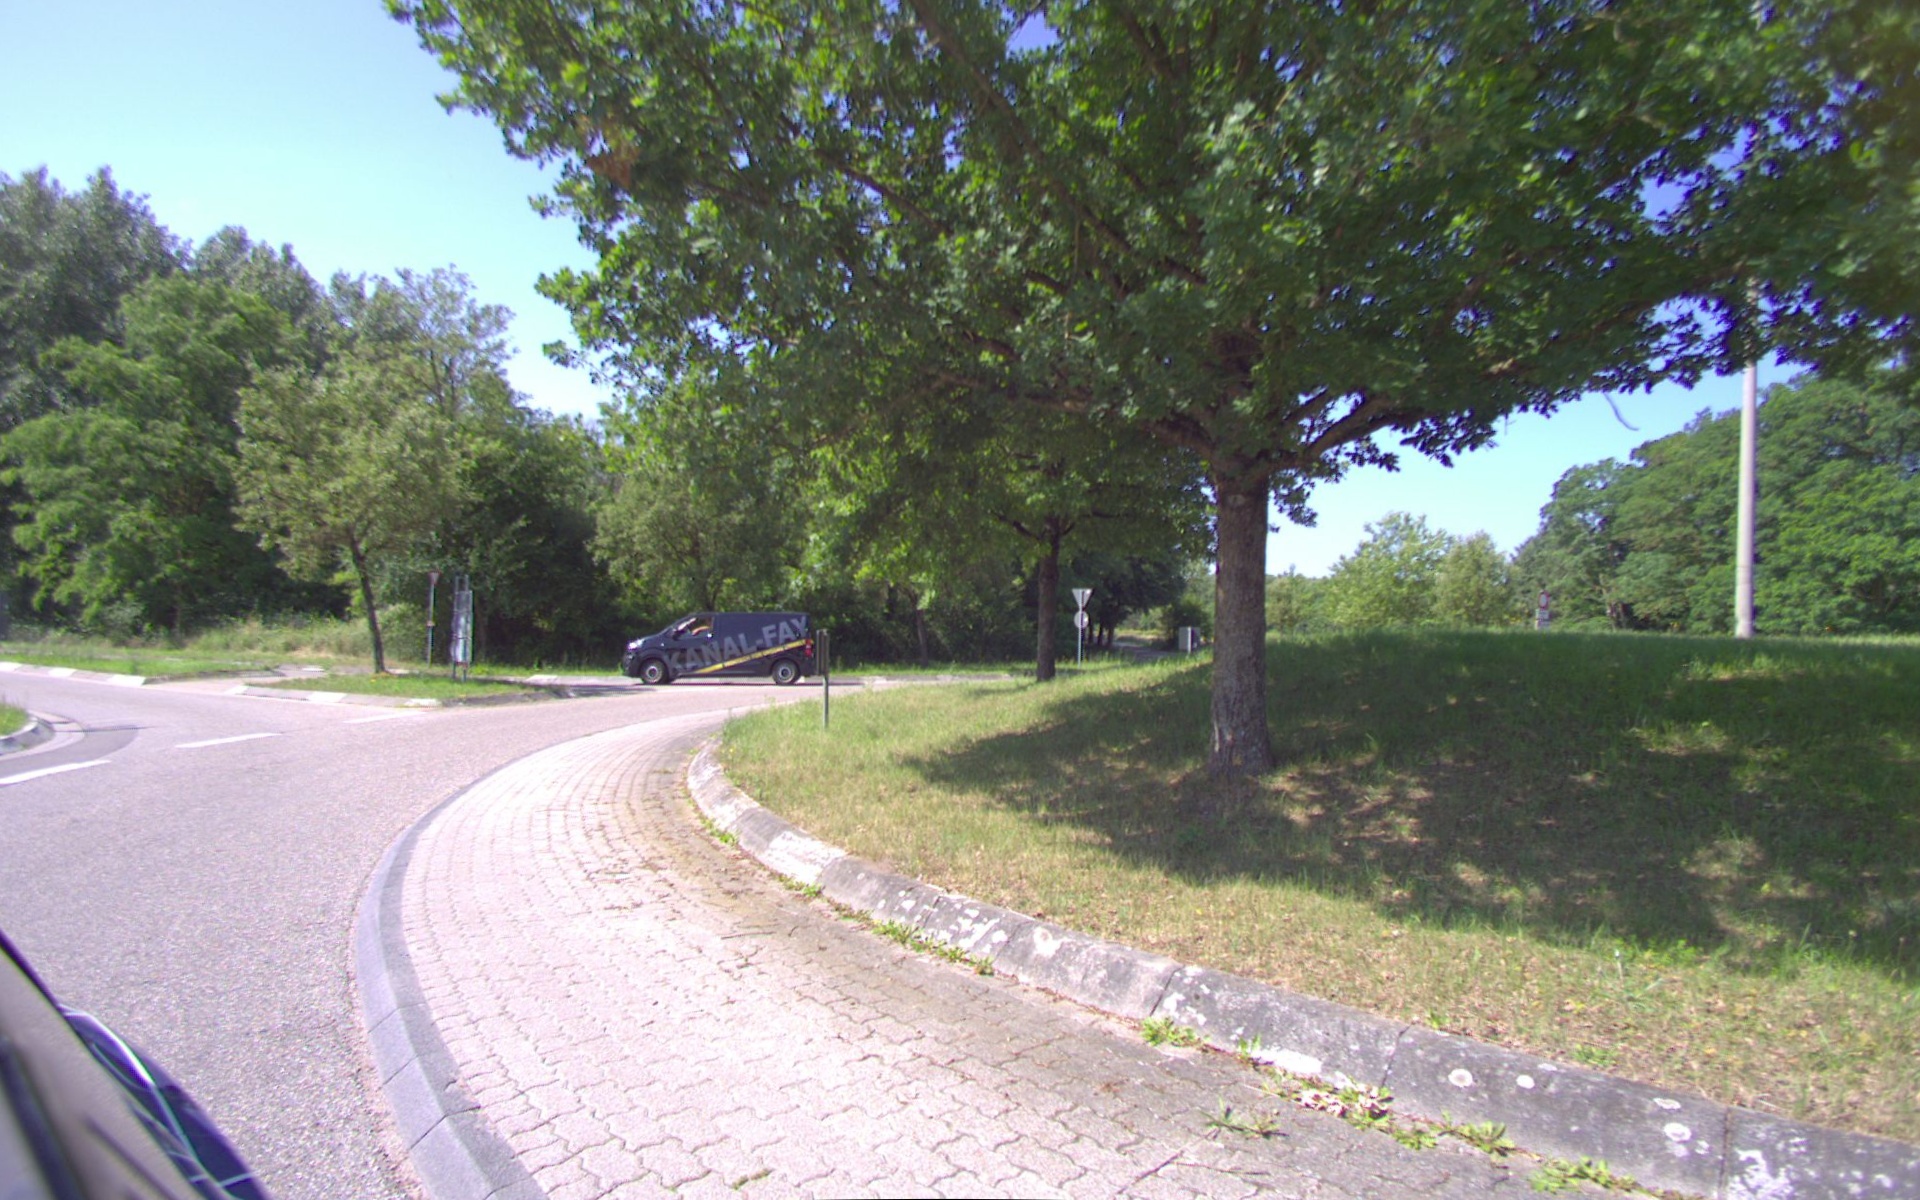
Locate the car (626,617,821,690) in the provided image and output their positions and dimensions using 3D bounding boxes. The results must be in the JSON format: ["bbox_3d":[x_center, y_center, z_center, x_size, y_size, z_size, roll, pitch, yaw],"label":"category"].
[{"bbox_3d":[-5.947,1.351,25.915,4.642,1.727,2.106,1,-1,-9],"label":"car"}]
